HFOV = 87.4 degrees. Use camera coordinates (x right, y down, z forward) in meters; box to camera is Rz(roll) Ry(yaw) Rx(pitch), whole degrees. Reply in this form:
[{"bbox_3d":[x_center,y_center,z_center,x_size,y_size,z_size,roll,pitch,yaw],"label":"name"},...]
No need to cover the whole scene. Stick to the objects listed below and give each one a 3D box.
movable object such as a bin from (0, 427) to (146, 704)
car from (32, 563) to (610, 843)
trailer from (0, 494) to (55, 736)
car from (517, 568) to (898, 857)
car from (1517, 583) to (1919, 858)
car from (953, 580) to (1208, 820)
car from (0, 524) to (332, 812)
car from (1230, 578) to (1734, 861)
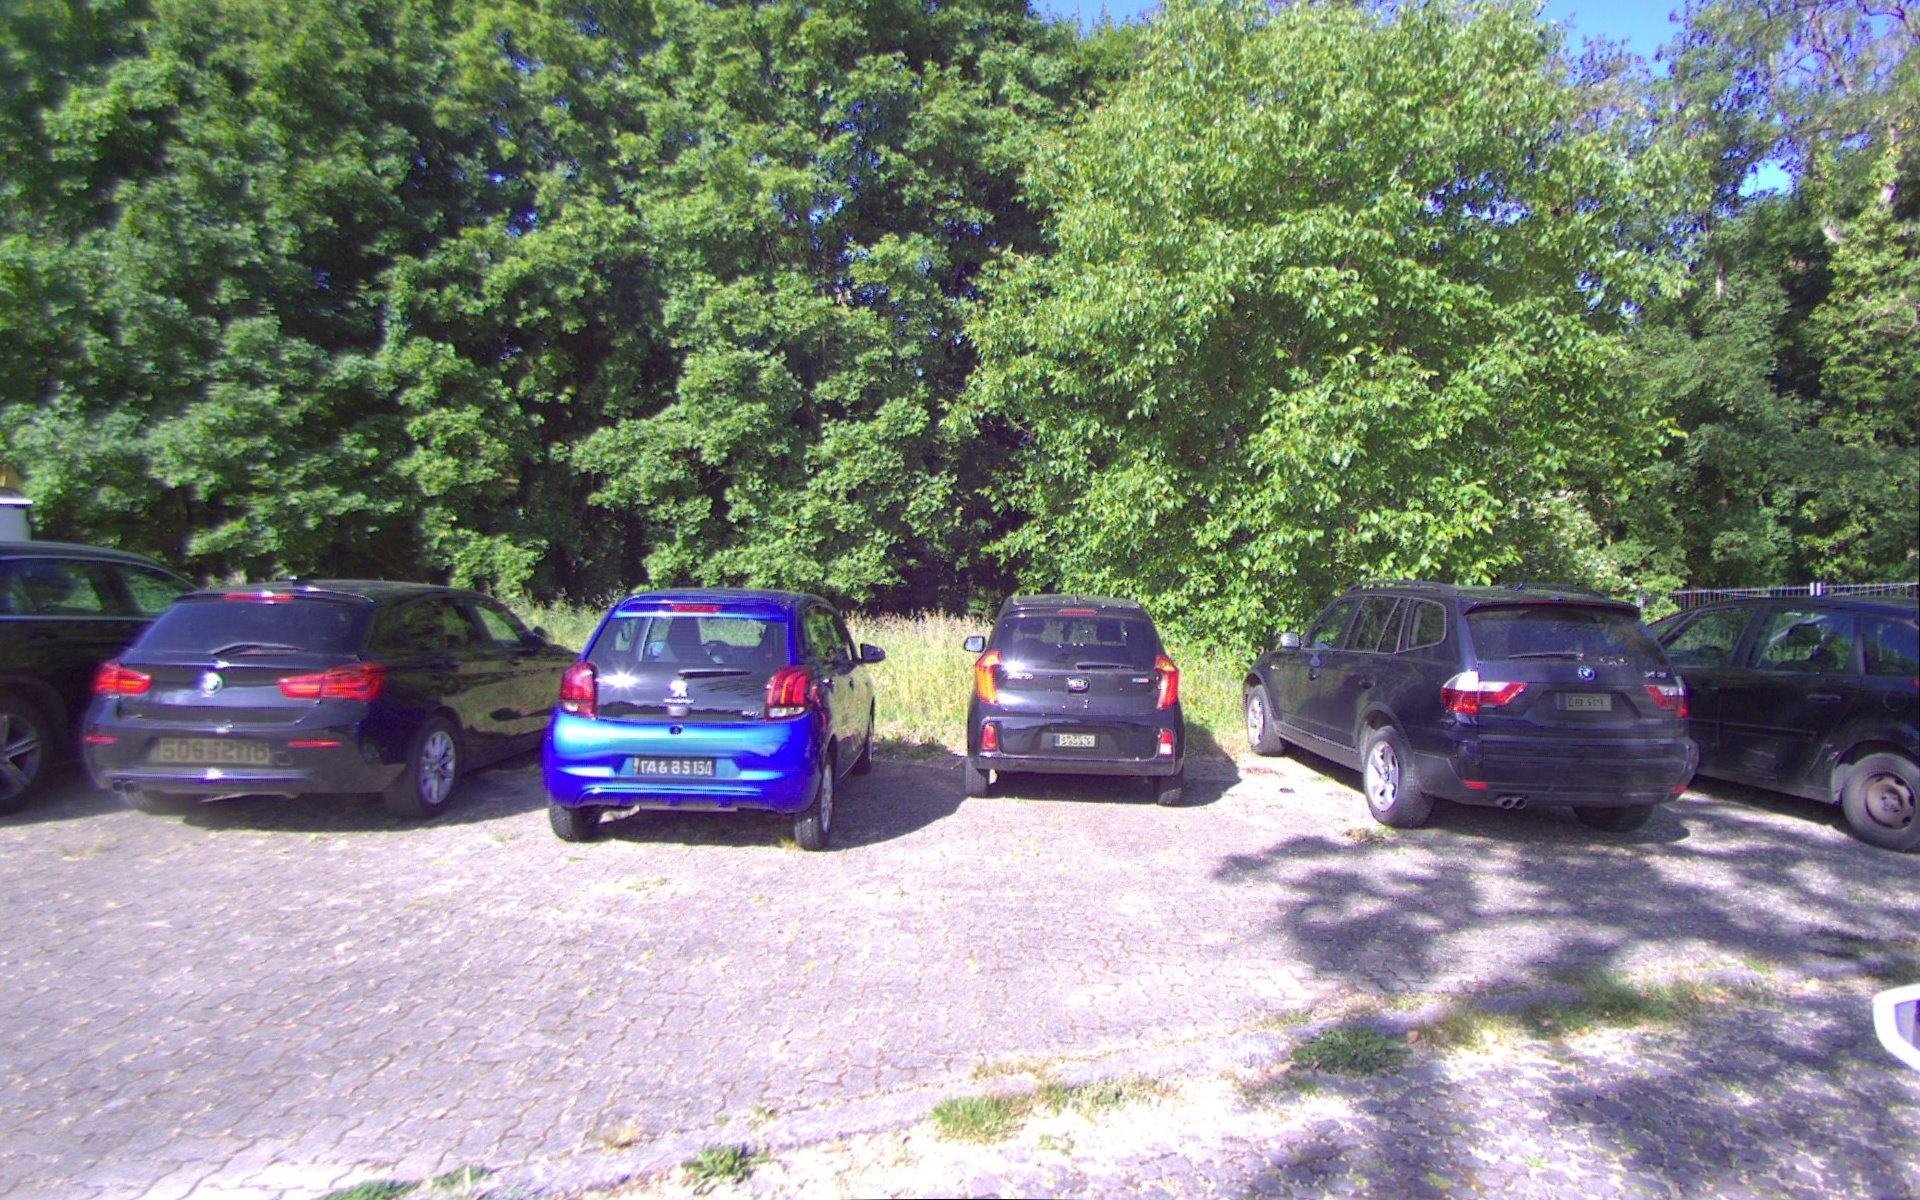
[{"bbox_3d":[-11.476,-0.397,10.194,1.960,3.005,5.167,1,0,4],"label":"movable object such as a bin"},{"bbox_3d":[-4.043,0.556,7.188,1.798,1.470,3.663,1,0,-1],"label":"car"},{"bbox_3d":[-9.244,0.144,7.362,1.607,2.122,3.972,1,1,0],"label":"trailer"},{"bbox_3d":[-1.461,0.597,7.171,1.680,1.513,3.664,1,0,2],"label":"car"},{"bbox_3d":[6.736,0.754,8.043,1.760,1.674,4.294,1,2,-7],"label":"car"},{"bbox_3d":[0.940,0.634,8.528,1.645,1.536,3.552,2,1,4],"label":"car"},{"bbox_3d":[-6.415,0.380,6.814,1.831,1.663,3.821,1,0,1],"label":"car"},{"bbox_3d":[3.700,0.686,8.121,1.782,1.678,4.189,1,1,-1],"label":"car"}]
